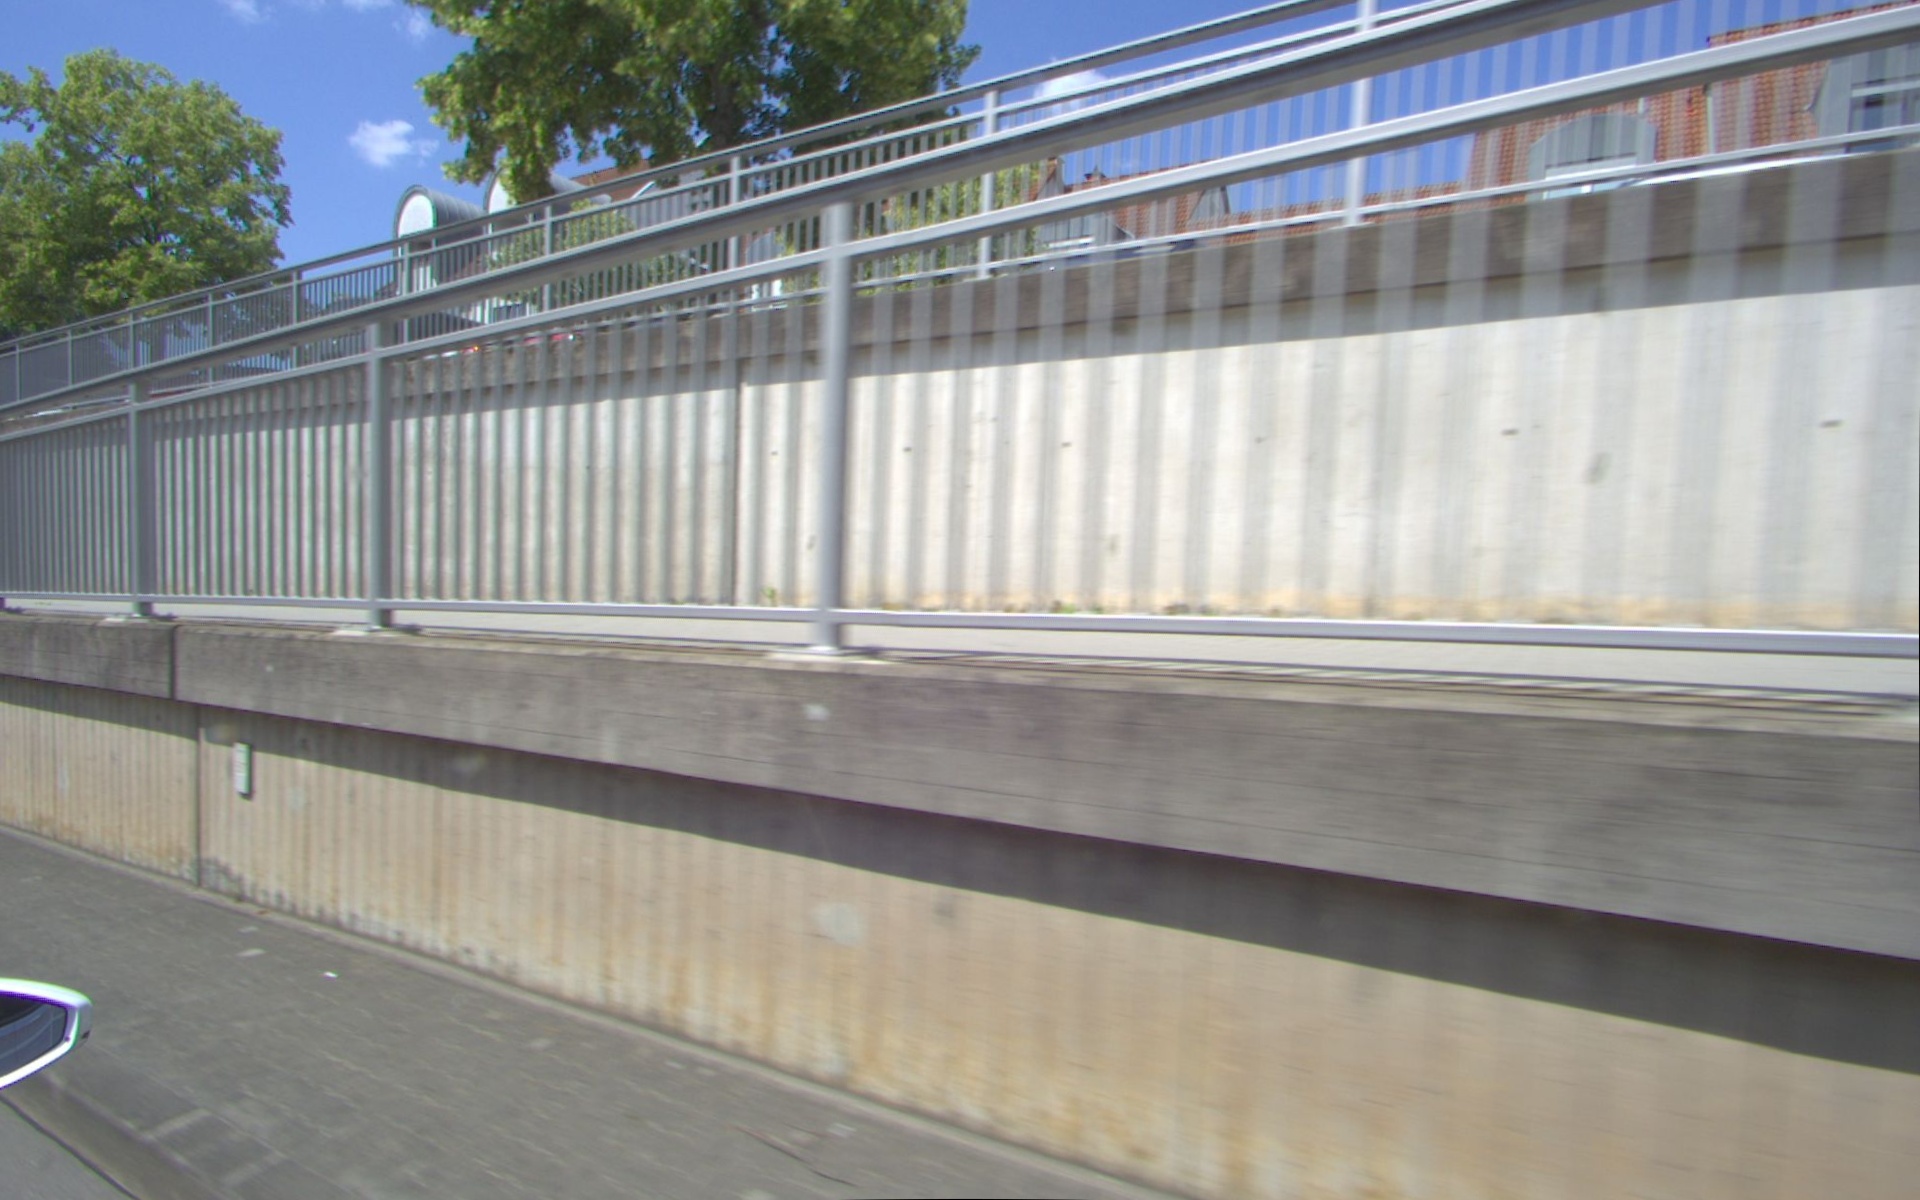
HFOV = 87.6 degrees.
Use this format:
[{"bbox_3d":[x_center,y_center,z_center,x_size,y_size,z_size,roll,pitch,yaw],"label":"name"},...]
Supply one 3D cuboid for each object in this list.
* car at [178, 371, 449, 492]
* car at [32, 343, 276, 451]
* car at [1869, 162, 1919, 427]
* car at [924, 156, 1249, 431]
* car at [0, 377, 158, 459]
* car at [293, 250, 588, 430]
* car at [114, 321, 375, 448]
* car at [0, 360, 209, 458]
[{"bbox_3d":[-12.087,-3.054,18.956,1.746,1.505,3.976,0,-1,35],"label":"car"},{"bbox_3d":[-18.020,-4.458,22.547,1.746,1.505,3.976,0,-1,35],"label":"car"},{"bbox_3d":[7.376,-2.299,6.456,1.701,1.576,3.976,0,0,34],"label":"car"},{"bbox_3d":[1.509,-2.921,10.500,1.746,1.505,3.976,0,-1,35],"label":"car"},{"bbox_3d":[-24.131,-4.840,26.697,1.746,1.505,3.976,0,-1,35],"label":"car"},{"bbox_3d":[-8.381,-4.081,16.459,1.746,1.793,3.976,0,-1,35],"label":"car"},{"bbox_3d":[-14.379,-4.248,20.325,1.746,1.588,3.976,0,-1,35],"label":"car"},{"bbox_3d":[-21.037,-4.566,24.464,1.746,1.505,3.976,0,-1,35],"label":"car"}]
